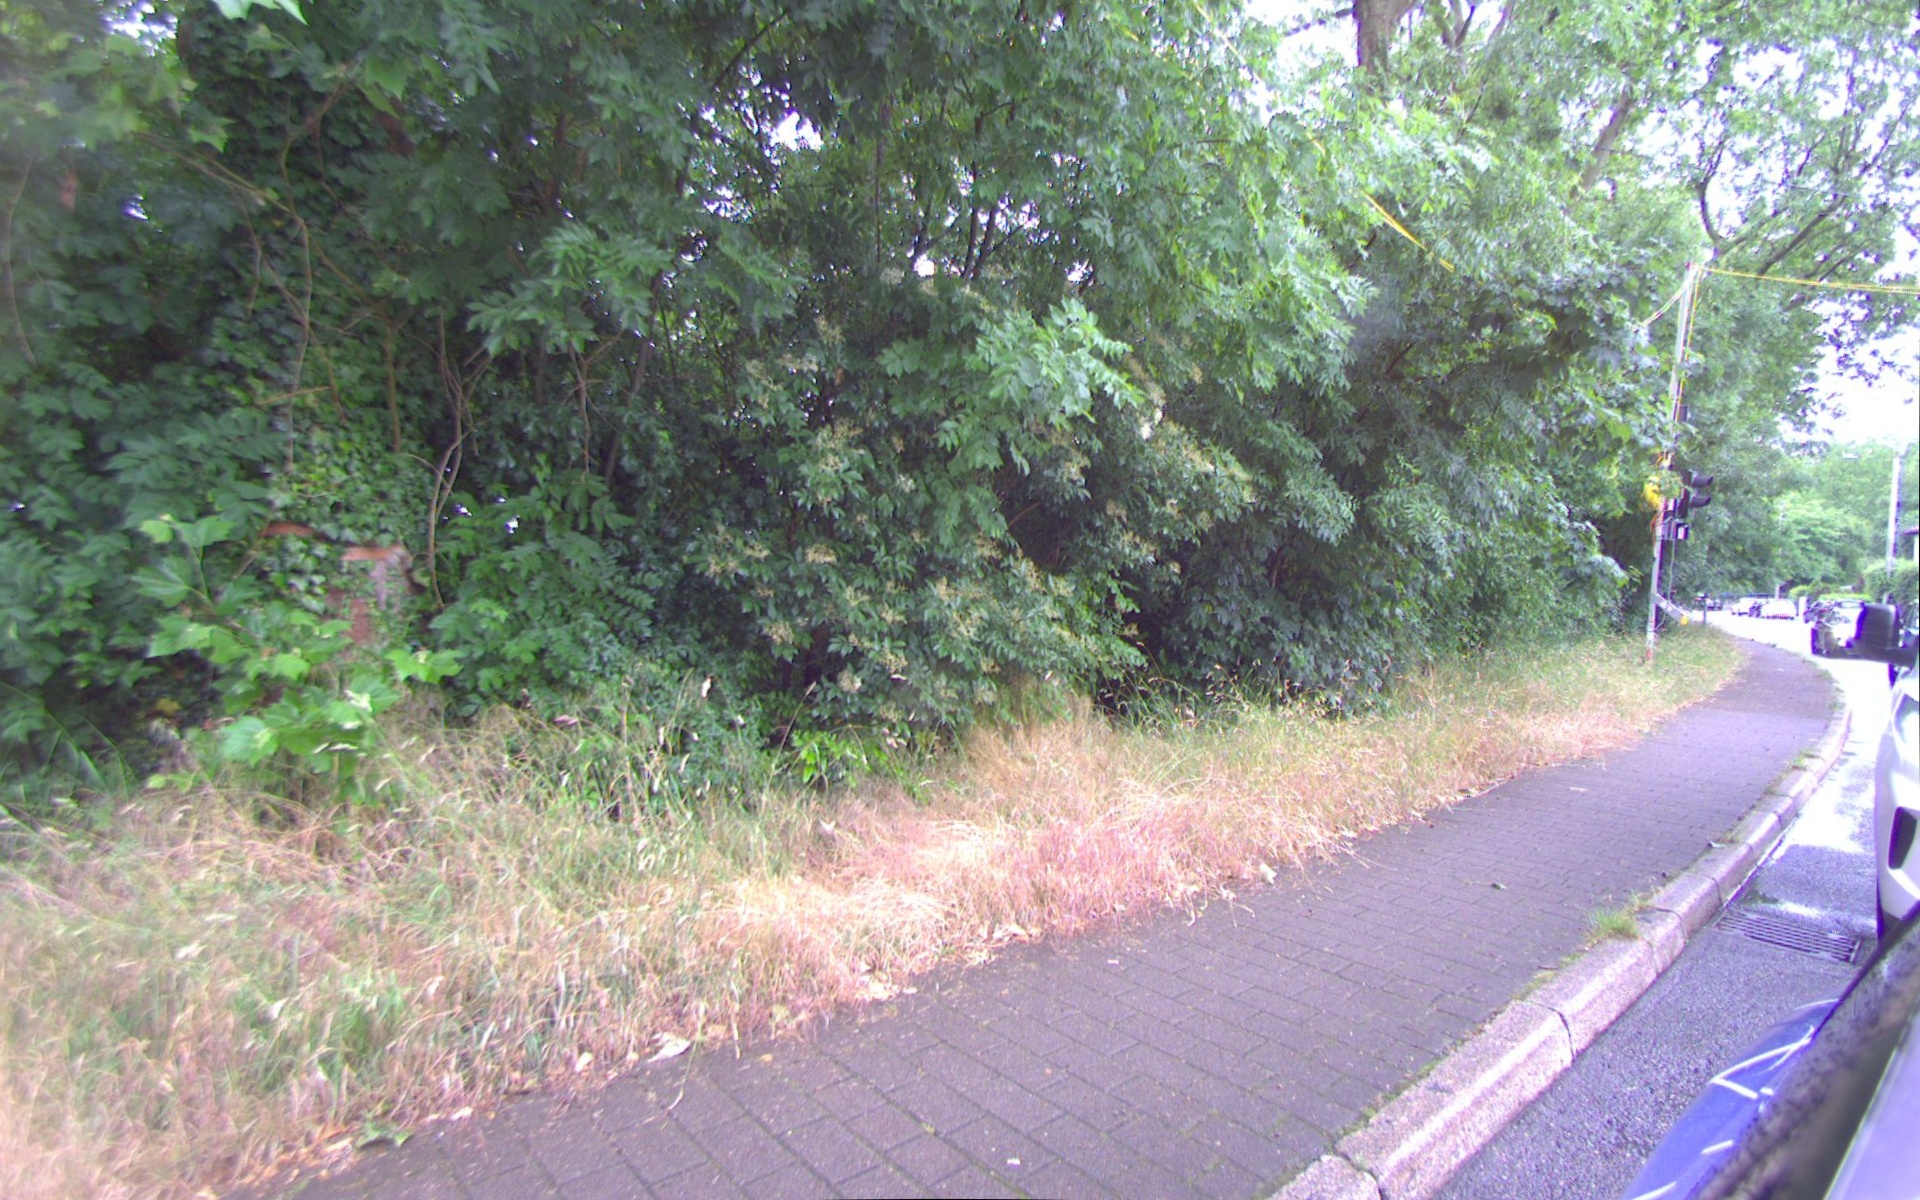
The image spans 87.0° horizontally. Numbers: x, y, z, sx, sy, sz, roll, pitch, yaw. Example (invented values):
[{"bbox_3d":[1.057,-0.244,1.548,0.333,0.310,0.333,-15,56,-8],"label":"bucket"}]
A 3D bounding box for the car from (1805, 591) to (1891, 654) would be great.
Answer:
[{"bbox_3d":[24.346,0.627,27.824,1.663,1.610,3.946,0,-2,40],"label":"car"}]

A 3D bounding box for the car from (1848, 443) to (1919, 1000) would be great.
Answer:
[{"bbox_3d":[5.773,0.397,4.522,5.118,1.917,2.044,-1,0,-41],"label":"car"}]

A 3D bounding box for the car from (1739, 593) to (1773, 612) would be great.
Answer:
[{"bbox_3d":[64.856,0.173,82.484,1.752,1.547,3.550,0,0,32],"label":"car"}]

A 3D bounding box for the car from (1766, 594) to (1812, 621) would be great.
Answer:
[{"bbox_3d":[60.527,0.502,73.959,1.984,1.884,4.311,0,0,32],"label":"car"}]

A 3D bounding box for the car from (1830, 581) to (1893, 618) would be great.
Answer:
[{"bbox_3d":[51.287,-0.055,57.645,1.984,2.039,3.955,0,0,32],"label":"car"}]
